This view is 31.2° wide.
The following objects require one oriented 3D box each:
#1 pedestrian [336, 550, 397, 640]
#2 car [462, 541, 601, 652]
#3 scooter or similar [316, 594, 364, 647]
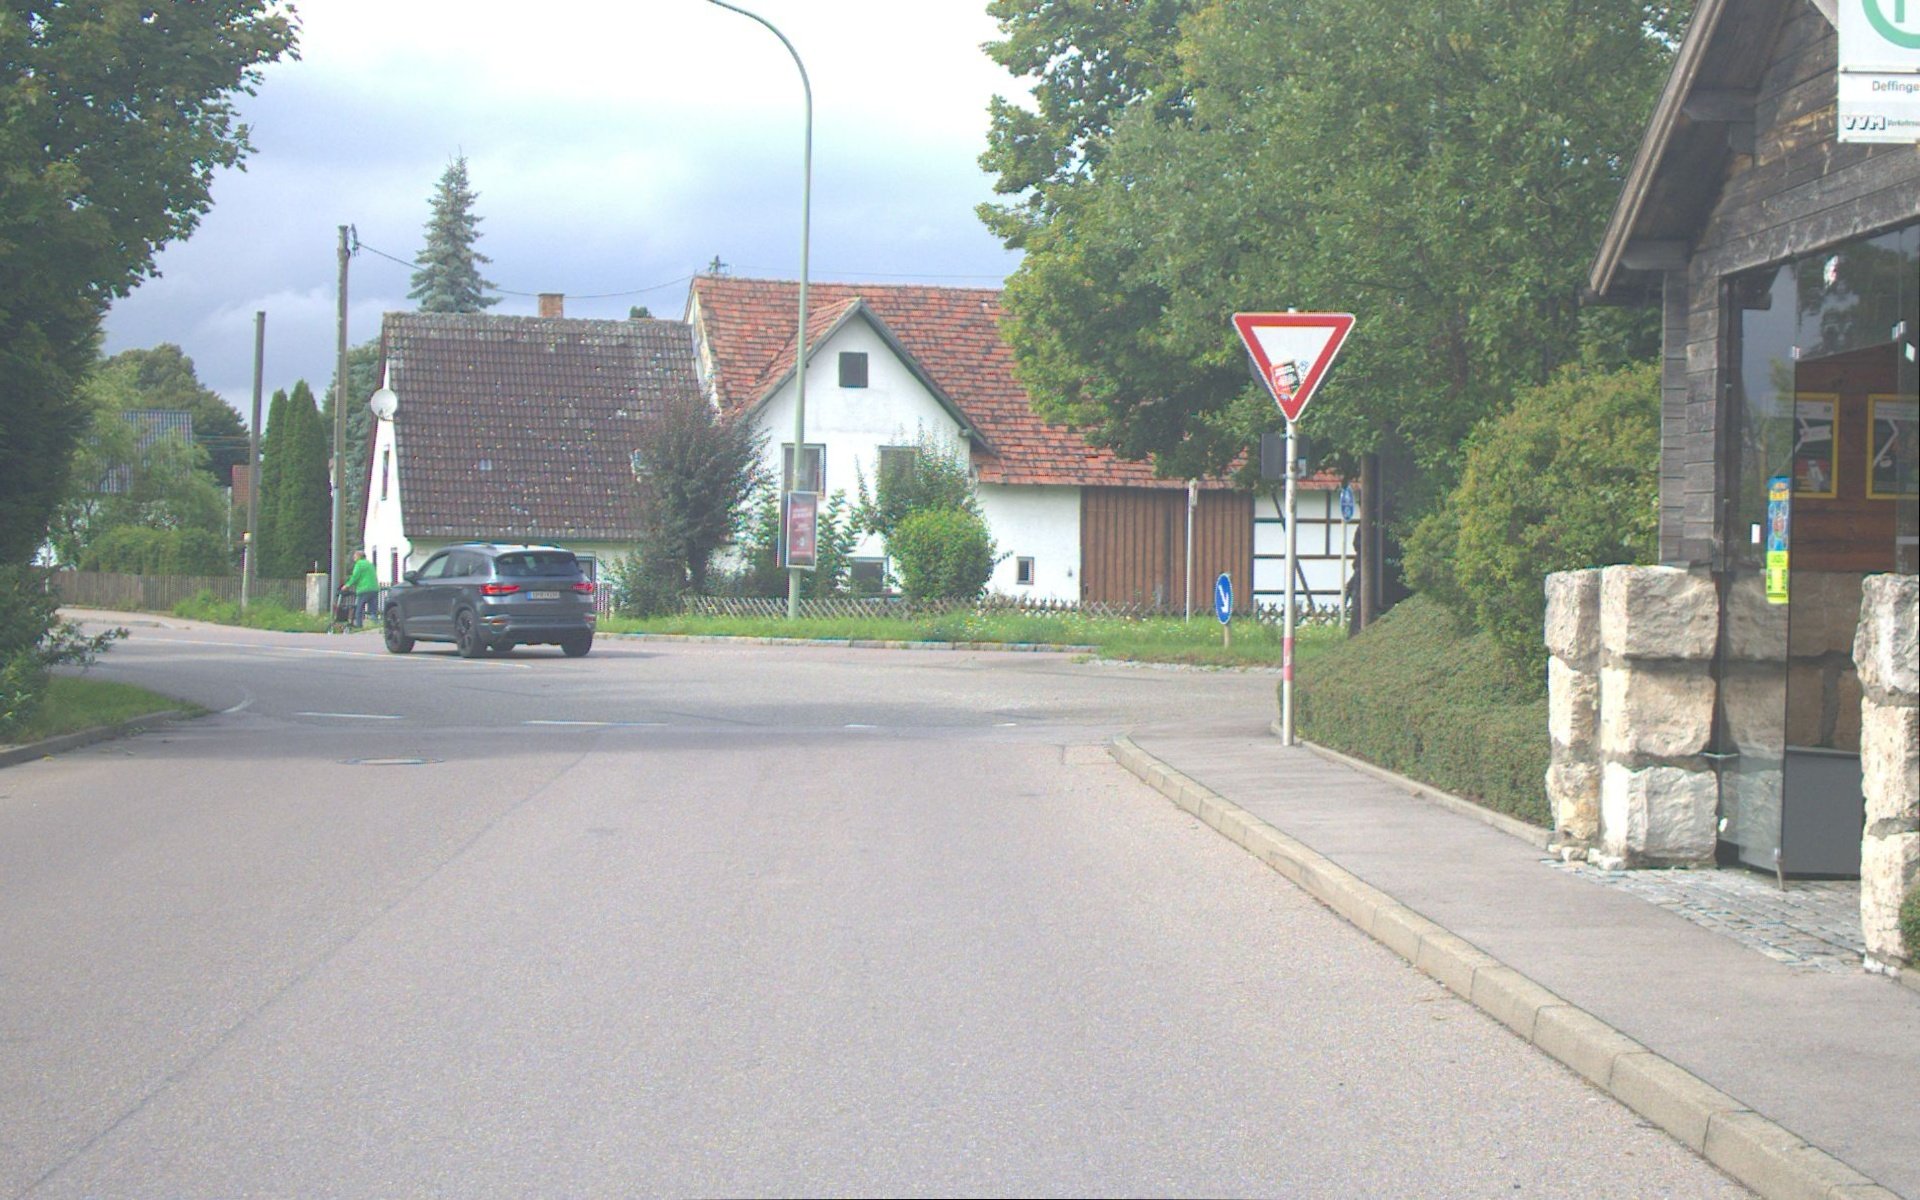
[{"bbox_3d":[-11.354,-0.099,65.749,0.788,1.659,0.712,6,-2,-34],"label":"pedestrian"},{"bbox_3d":[-5.929,-0.077,47.912,1.798,1.457,3.663,1,1,-6],"label":"car"},{"bbox_3d":[-11.947,0.394,66.219,0.630,0.945,0.622,6,-2,-34],"label":"scooter or similar"}]
